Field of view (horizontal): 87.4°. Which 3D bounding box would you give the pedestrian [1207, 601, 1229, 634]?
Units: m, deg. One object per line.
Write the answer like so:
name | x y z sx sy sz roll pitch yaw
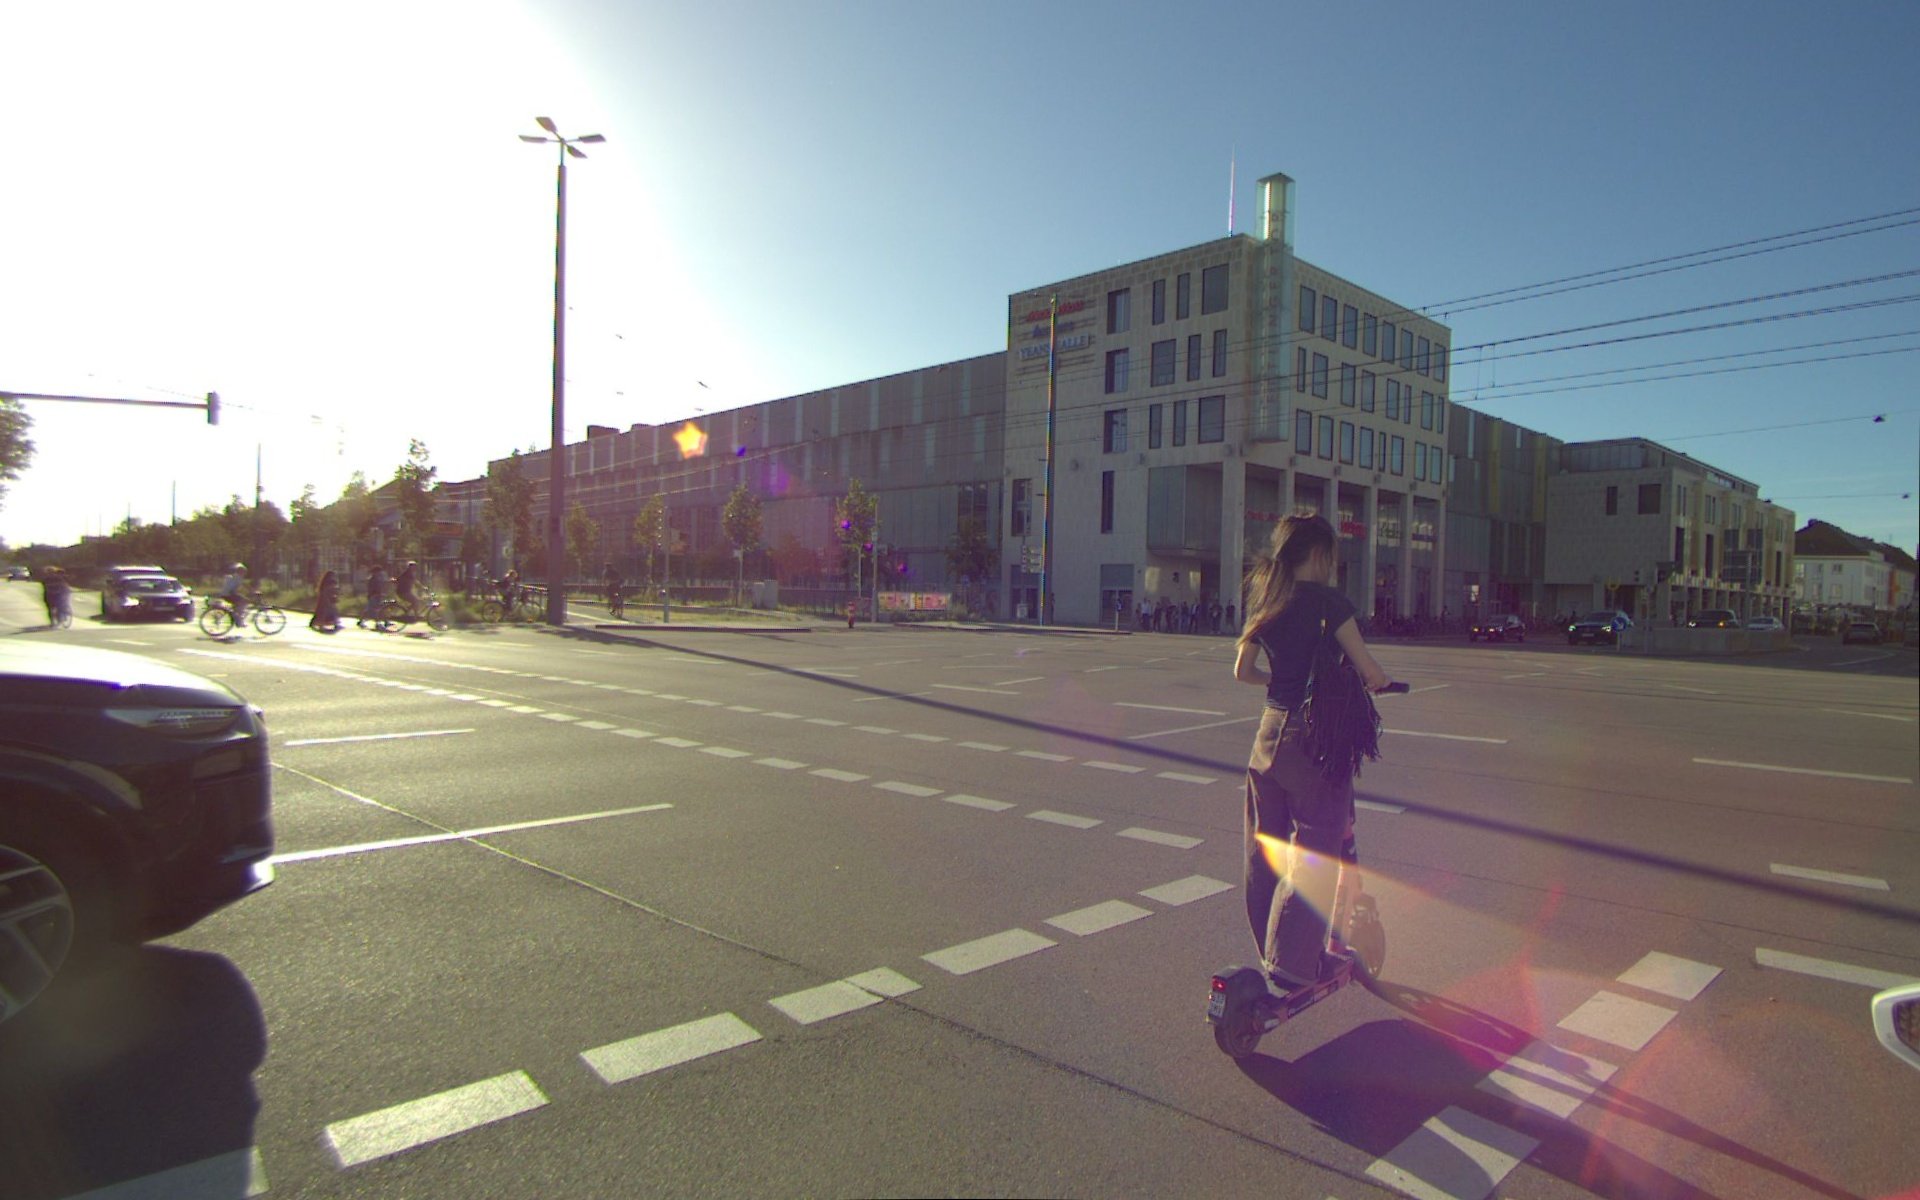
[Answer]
pedestrian | 13.528 0.920 52.702 0.987 1.673 0.949 2 1 11

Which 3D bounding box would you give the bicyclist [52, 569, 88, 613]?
bicyclist | -26.850 -0.274 30.308 0.799 1.315 0.767 0 2 -41

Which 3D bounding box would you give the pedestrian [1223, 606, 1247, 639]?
pedestrian | 13.864 1.131 50.670 0.927 1.592 0.841 2 1 -1

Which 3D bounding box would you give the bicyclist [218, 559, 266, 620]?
bicyclist | -17.000 -0.255 23.782 0.836 1.421 0.796 0 2 -41

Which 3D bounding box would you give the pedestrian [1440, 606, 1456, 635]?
pedestrian | 34.045 1.416 70.020 0.931 2.009 1.006 2 1 27

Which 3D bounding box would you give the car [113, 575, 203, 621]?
car | -26.154 -0.101 32.709 1.986 1.394 3.949 -1 2 -43

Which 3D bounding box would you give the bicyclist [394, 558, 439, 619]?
bicyclist | -14.096 -0.301 26.037 0.933 1.565 0.641 0 1 -39

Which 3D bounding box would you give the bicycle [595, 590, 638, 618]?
bicycle | -12.267 0.127 35.934 0.741 0.953 2.394 1 1 -1

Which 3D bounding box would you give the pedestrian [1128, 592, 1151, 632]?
pedestrian | 9.867 0.661 55.233 0.884 2.152 0.943 2 1 36

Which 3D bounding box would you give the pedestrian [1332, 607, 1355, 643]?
pedestrian | 19.345 1.240 50.674 0.751 1.763 0.744 1 1 -41

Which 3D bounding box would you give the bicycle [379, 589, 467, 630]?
bicycle | -13.967 0.239 26.153 1.961 1.010 0.641 0 1 -39

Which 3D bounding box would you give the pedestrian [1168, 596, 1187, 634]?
pedestrian | 11.990 0.794 55.398 0.898 2.040 1.024 2 1 11

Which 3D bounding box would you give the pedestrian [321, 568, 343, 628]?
pedestrian | -16.884 -0.056 27.006 0.447 1.587 0.514 0 1 -39

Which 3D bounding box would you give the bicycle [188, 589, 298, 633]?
bicycle | -16.969 0.239 23.811 2.061 0.991 0.795 0 2 -42

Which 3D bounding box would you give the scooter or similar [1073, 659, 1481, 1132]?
scooter or similar | 1.133 0.842 3.437 1.472 1.191 0.636 1 2 -42

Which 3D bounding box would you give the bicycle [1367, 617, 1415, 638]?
bicycle | 24.416 1.541 56.971 0.678 1.125 2.449 1 1 -38

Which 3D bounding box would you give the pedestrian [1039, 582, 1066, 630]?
pedestrian | 4.236 0.281 46.178 0.882 2.152 0.945 2 1 28

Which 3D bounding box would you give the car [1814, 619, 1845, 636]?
car | 103.346 3.236 119.337 5.576 1.898 2.153 2 0 -43

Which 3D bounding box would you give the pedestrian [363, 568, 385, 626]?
pedestrian | -16.316 -0.077 27.958 0.447 1.587 0.514 0 1 -39

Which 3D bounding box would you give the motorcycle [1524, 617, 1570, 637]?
motorcycle | 41.359 1.895 70.826 2.640 1.234 0.910 4 2 45

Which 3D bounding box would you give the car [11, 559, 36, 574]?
car | -97.102 -3.454 104.140 1.774 1.343 3.947 1 2 -44

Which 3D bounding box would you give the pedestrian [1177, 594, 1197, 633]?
pedestrian | 12.178 0.729 53.844 0.899 2.040 1.024 2 1 20

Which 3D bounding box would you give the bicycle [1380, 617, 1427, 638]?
bicycle | 25.487 1.559 57.798 0.677 1.125 2.450 1 1 -36

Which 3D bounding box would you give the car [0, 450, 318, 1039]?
car | -4.638 0.370 2.569 4.757 1.684 2.173 1 1 -43

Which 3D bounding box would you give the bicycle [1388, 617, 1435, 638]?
bicycle | 26.163 1.567 58.233 0.678 1.125 2.449 1 1 -37

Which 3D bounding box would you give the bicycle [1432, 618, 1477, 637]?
bicycle | 31.157 1.734 63.324 0.678 1.125 2.449 1 1 -37

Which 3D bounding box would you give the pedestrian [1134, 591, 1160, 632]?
pedestrian | 9.993 0.589 53.713 0.939 2.152 0.887 1 1 -41

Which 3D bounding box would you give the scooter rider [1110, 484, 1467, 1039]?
scooter rider | 1.141 0.452 3.429 1.109 1.565 0.636 1 2 -42

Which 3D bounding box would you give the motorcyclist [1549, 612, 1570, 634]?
motorcyclist | 43.144 1.649 72.321 1.025 1.491 0.911 4 2 44

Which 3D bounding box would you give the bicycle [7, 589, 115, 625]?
bicycle | -24.648 0.190 27.595 2.047 0.940 0.801 0 2 -23

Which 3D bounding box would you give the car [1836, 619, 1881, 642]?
car | 62.470 2.107 69.848 4.231 1.469 1.918 2 0 -43

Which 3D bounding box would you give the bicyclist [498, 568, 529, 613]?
bicyclist | -14.067 -0.298 31.639 0.832 1.375 0.799 0 2 -31

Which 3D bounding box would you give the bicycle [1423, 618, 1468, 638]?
bicycle | 29.571 1.714 61.238 0.678 1.125 2.449 1 1 -37

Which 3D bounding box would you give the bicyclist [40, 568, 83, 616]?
bicyclist | -24.660 -0.227 27.588 0.628 1.287 0.801 0 2 -23

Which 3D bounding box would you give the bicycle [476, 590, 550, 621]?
bicycle | -14.067 0.179 31.653 2.054 0.940 0.798 0 2 -32

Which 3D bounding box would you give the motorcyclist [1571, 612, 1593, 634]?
motorcyclist | 45.986 1.705 74.291 1.125 1.596 0.911 4 2 45

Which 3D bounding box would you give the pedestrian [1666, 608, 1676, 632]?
pedestrian | 60.722 1.705 85.774 0.608 2.041 0.476 4 2 37

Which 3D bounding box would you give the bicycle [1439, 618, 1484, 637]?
bicycle | 32.057 1.755 64.187 0.827 1.125 2.449 1 1 -37

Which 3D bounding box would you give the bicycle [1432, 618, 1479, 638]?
bicycle | 30.771 1.734 62.411 0.827 1.125 2.449 1 1 -37

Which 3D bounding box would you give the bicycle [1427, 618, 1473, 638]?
bicycle | 30.125 1.719 61.778 0.678 1.125 2.449 1 1 -37

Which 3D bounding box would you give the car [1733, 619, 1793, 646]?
car | 55.708 2.244 69.646 5.568 1.715 2.156 2 0 -39

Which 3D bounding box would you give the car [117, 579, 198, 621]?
car | -29.077 -0.026 36.363 1.986 1.394 3.949 -1 2 -43

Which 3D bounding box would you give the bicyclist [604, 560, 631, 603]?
bicyclist | -12.266 -0.663 35.995 0.741 1.525 0.617 1 1 -2

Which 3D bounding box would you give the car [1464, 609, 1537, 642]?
car | 28.175 1.319 52.307 4.260 1.602 1.920 1 1 -41

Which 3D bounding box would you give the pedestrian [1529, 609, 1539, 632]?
pedestrian | 52.068 1.841 91.106 0.608 2.041 0.476 4 2 37

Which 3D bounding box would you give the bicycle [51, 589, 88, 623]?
bicycle | -26.850 0.171 30.313 0.799 0.940 2.052 0 2 -41

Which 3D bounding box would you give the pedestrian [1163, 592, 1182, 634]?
pedestrian | 11.022 0.651 52.118 0.880 2.152 0.947 2 1 11

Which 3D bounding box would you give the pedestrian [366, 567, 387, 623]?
pedestrian | -16.693 -0.134 28.733 0.447 1.587 0.514 0 1 -39

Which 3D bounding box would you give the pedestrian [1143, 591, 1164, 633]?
pedestrian | 10.081 0.623 52.332 0.880 2.152 0.947 2 1 17

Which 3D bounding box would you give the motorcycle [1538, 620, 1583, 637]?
motorcycle | 43.192 2.057 72.284 2.640 1.009 0.910 4 2 45

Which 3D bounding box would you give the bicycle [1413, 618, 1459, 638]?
bicycle | 28.638 1.690 60.458 0.588 1.125 2.449 1 1 -37

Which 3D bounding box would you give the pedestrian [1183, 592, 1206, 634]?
pedestrian | 12.199 0.667 52.256 1.042 2.157 1.098 2 1 13

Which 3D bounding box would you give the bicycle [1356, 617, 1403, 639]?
bicycle | 23.401 1.530 56.102 0.652 1.128 2.383 1 1 -38

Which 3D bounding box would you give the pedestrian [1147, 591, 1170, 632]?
pedestrian | 10.789 0.618 54.613 0.884 2.152 0.943 2 1 36

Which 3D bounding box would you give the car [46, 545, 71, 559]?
car | -95.533 -5.093 106.405 3.946 1.343 1.775 4 2 45

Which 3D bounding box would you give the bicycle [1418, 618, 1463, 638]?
bicycle | 29.080 1.700 60.835 0.532 1.125 2.449 1 1 -37

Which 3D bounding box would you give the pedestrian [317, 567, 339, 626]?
pedestrian | -17.311 -0.099 27.513 0.447 1.587 0.514 0 1 -39

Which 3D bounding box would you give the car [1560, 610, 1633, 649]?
car | 30.017 1.368 47.345 4.264 1.700 1.919 1 0 -44
